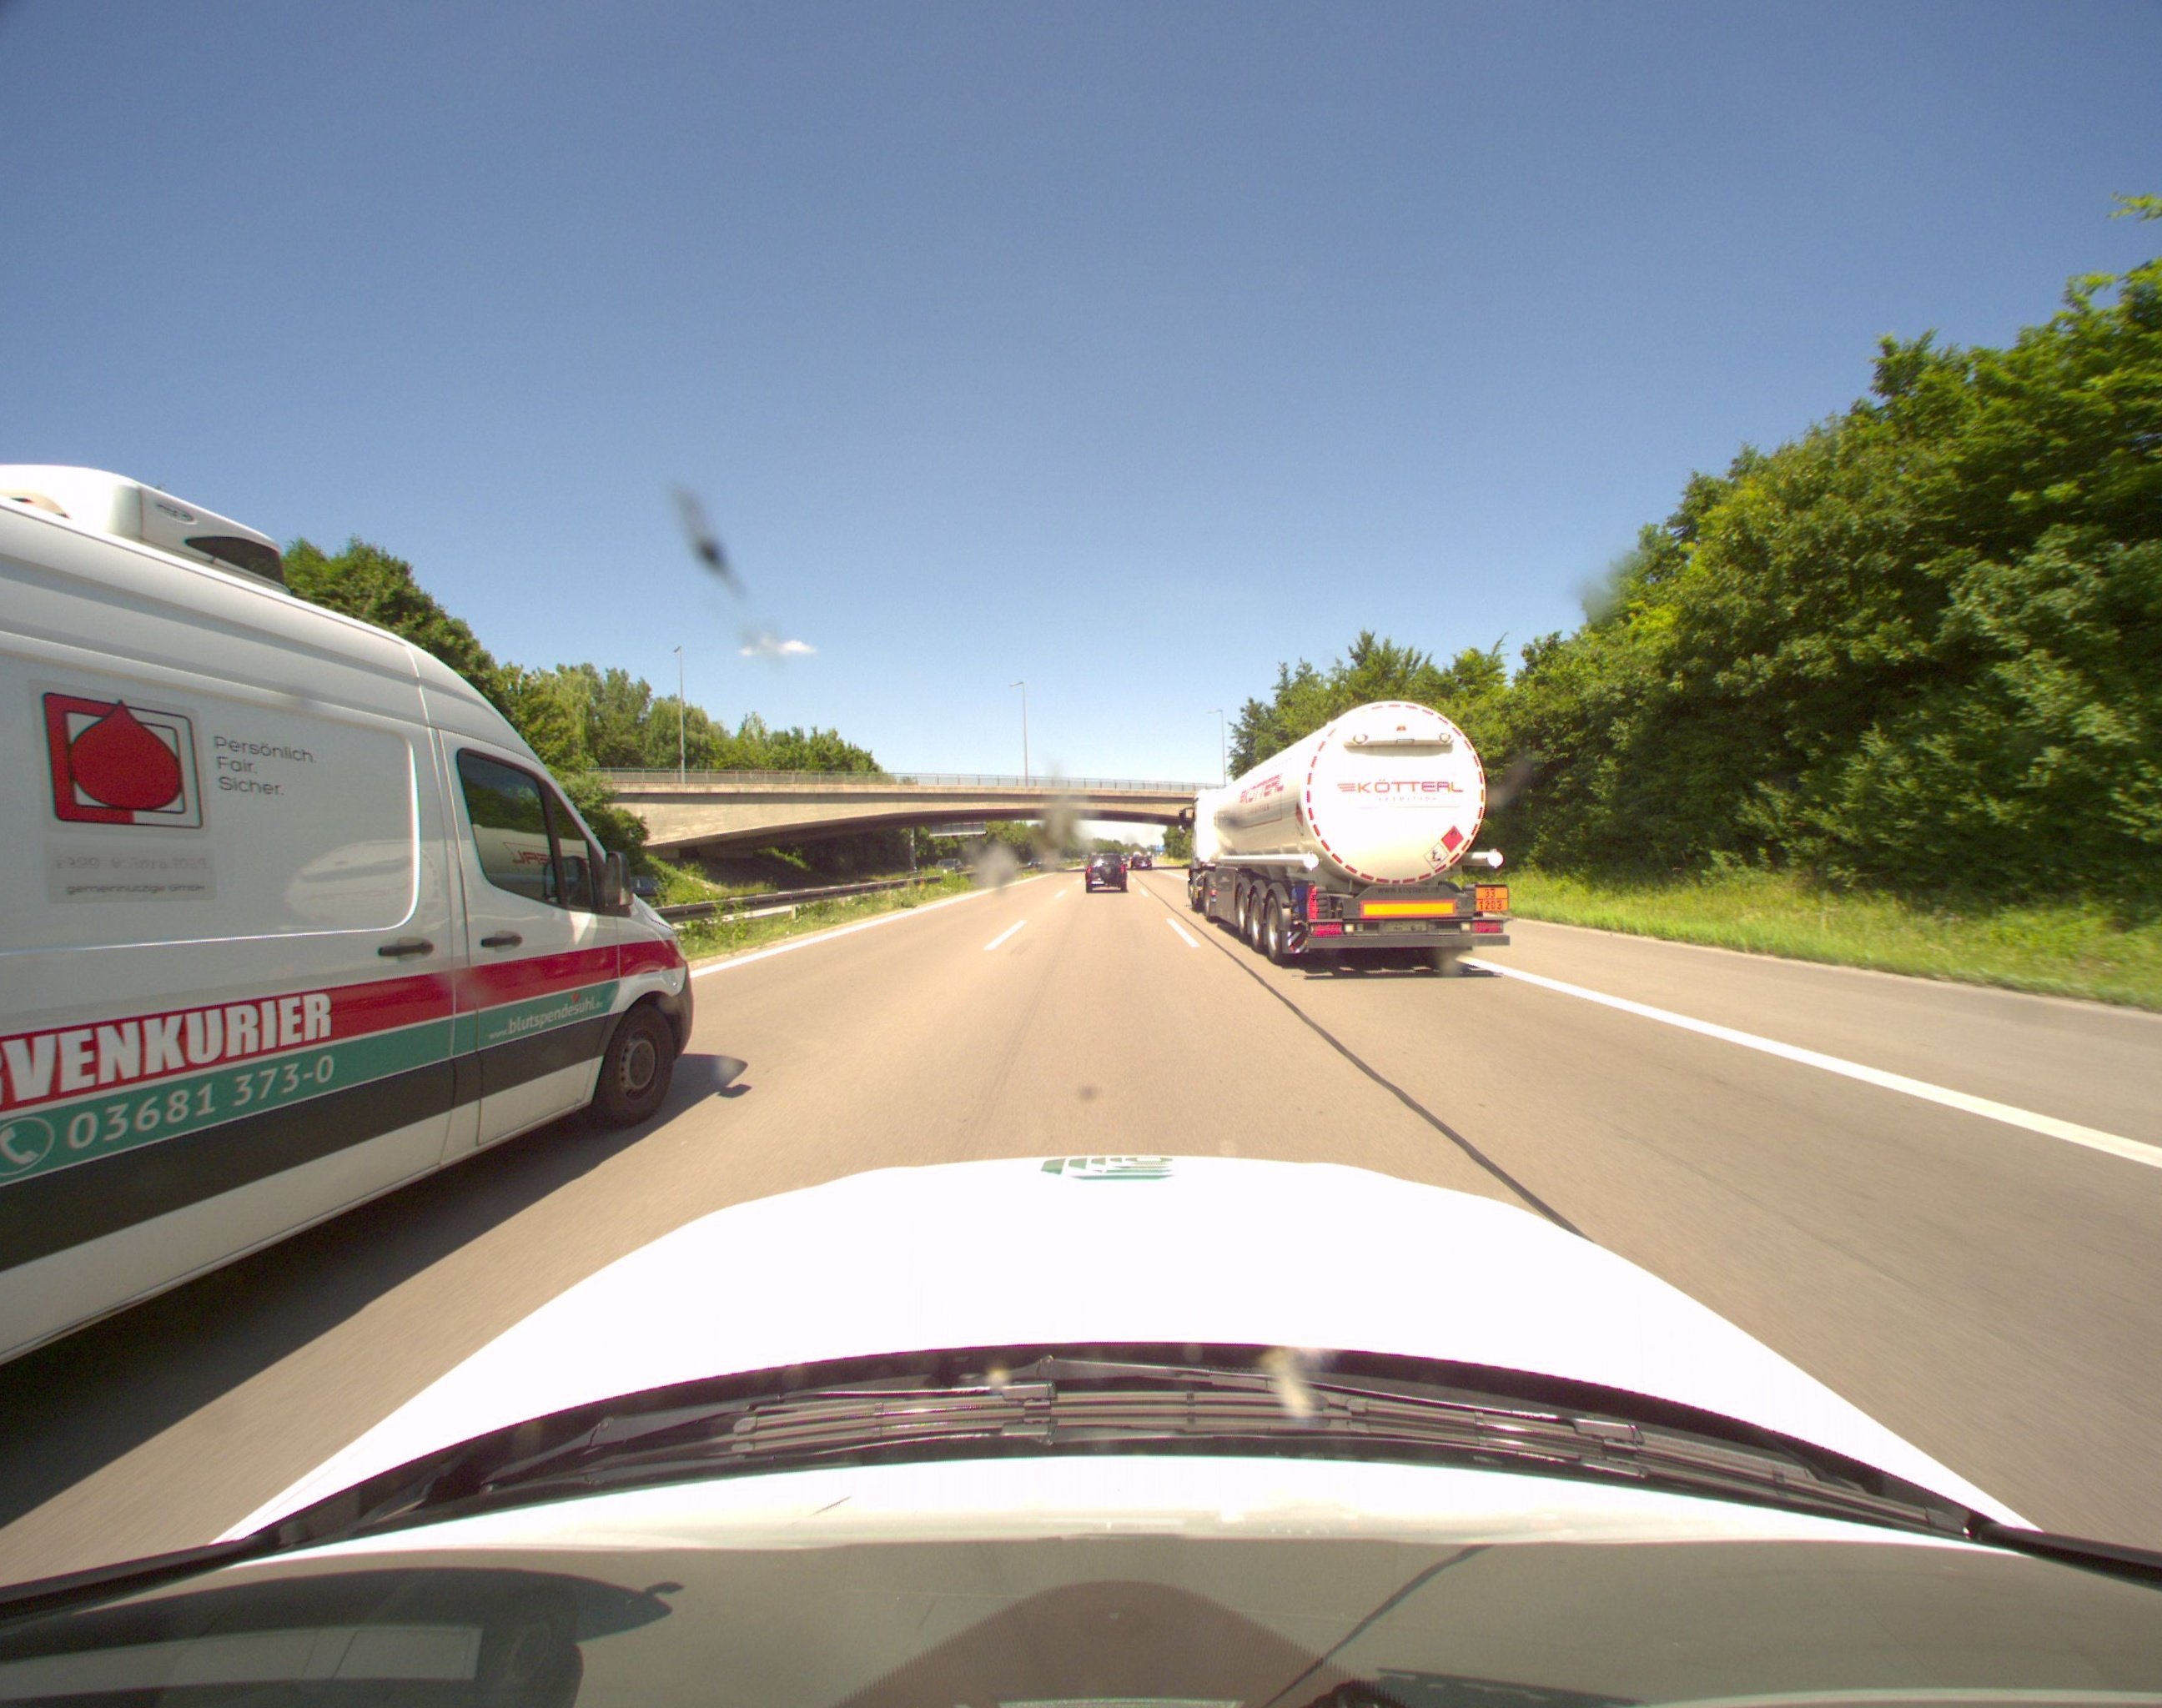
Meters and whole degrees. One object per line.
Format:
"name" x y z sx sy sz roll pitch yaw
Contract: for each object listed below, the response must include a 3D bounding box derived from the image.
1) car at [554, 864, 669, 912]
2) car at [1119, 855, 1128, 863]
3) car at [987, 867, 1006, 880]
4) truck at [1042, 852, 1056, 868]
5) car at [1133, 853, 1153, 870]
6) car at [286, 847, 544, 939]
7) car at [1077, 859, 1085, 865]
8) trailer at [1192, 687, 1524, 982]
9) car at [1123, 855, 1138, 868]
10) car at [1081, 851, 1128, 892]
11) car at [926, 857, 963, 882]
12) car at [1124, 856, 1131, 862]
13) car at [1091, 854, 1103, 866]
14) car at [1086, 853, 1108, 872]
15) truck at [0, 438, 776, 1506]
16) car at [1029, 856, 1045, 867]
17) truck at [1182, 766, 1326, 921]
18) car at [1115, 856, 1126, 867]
"car" -18.078 1.272 31.624 1.789 1.554 4.132 -4 0 3
"car" 10.037 1.249 192.270 1.986 1.750 4.206 -2 0 1
"car" -10.972 2.506 106.147 1.892 1.641 4.001 -2 -1 2
"truck" -8.646 1.680 219.094 2.773 4.060 6.214 -4 0 3
"car" 6.756 0.840 89.023 1.985 1.684 4.003 -2 -1 3
"car" -15.013 0.836 18.808 1.986 1.804 4.697 -2 -1 2
"car" 0.053 2.229 232.748 1.874 1.483 4.438 -2 0 3
"trailer" 3.974 -0.196 15.037 2.638 3.390 11.156 -1 0 2
"car" 6.584 1.058 108.168 1.835 1.611 4.002 -2 -1 2
"car" 1.002 0.733 35.634 1.900 1.665 4.000 -2 0 0
"car" -10.047 1.118 60.297 1.789 1.666 4.132 -2 0 3
"car" 14.544 1.574 254.797 1.806 1.746 4.001 -2 0 1
"car" 3.070 1.105 153.797 1.986 2.013 4.952 -3 -1 2
"car" 1.609 0.809 78.632 1.986 1.706 4.338 -3 -1 2
"truck" -3.522 0.285 3.036 1.986 2.542 6.695 0 0 2
"car" -6.551 1.037 121.303 1.852 1.527 4.753 -2 0 2
"truck" 4.196 -0.207 21.136 2.627 3.375 6.492 -1 0 3
"car" 7.568 1.401 157.629 1.986 2.013 4.770 -2 0 2
